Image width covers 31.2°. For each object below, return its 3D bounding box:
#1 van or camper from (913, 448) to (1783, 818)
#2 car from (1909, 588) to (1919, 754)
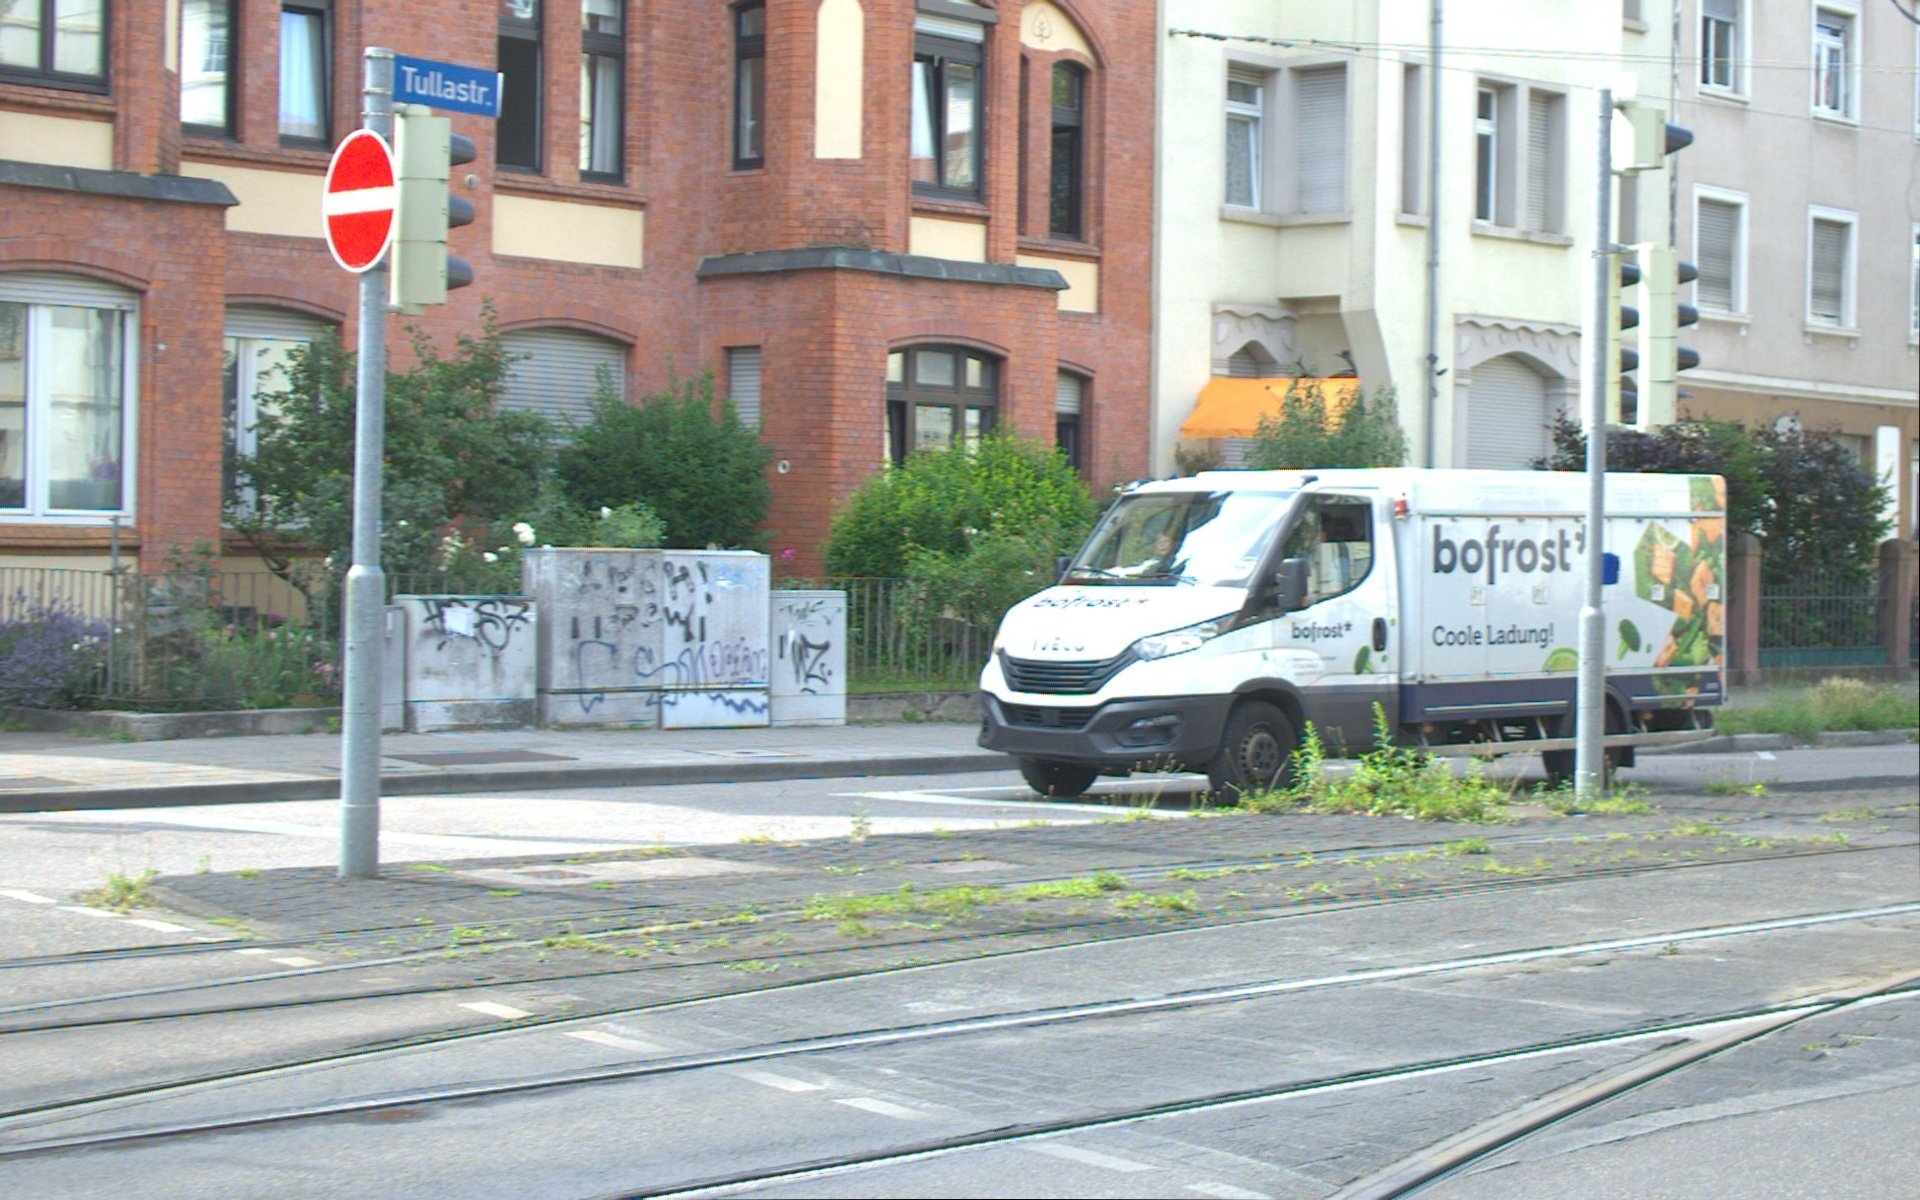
[{"bbox_3d":[2.870,0.188,23.878,6.527,2.246,2.247,0,1,-43],"label":"van or camper"},{"bbox_3d":[10.432,0.650,30.462,4.008,1.434,1.935,0,1,-40],"label":"car"}]
